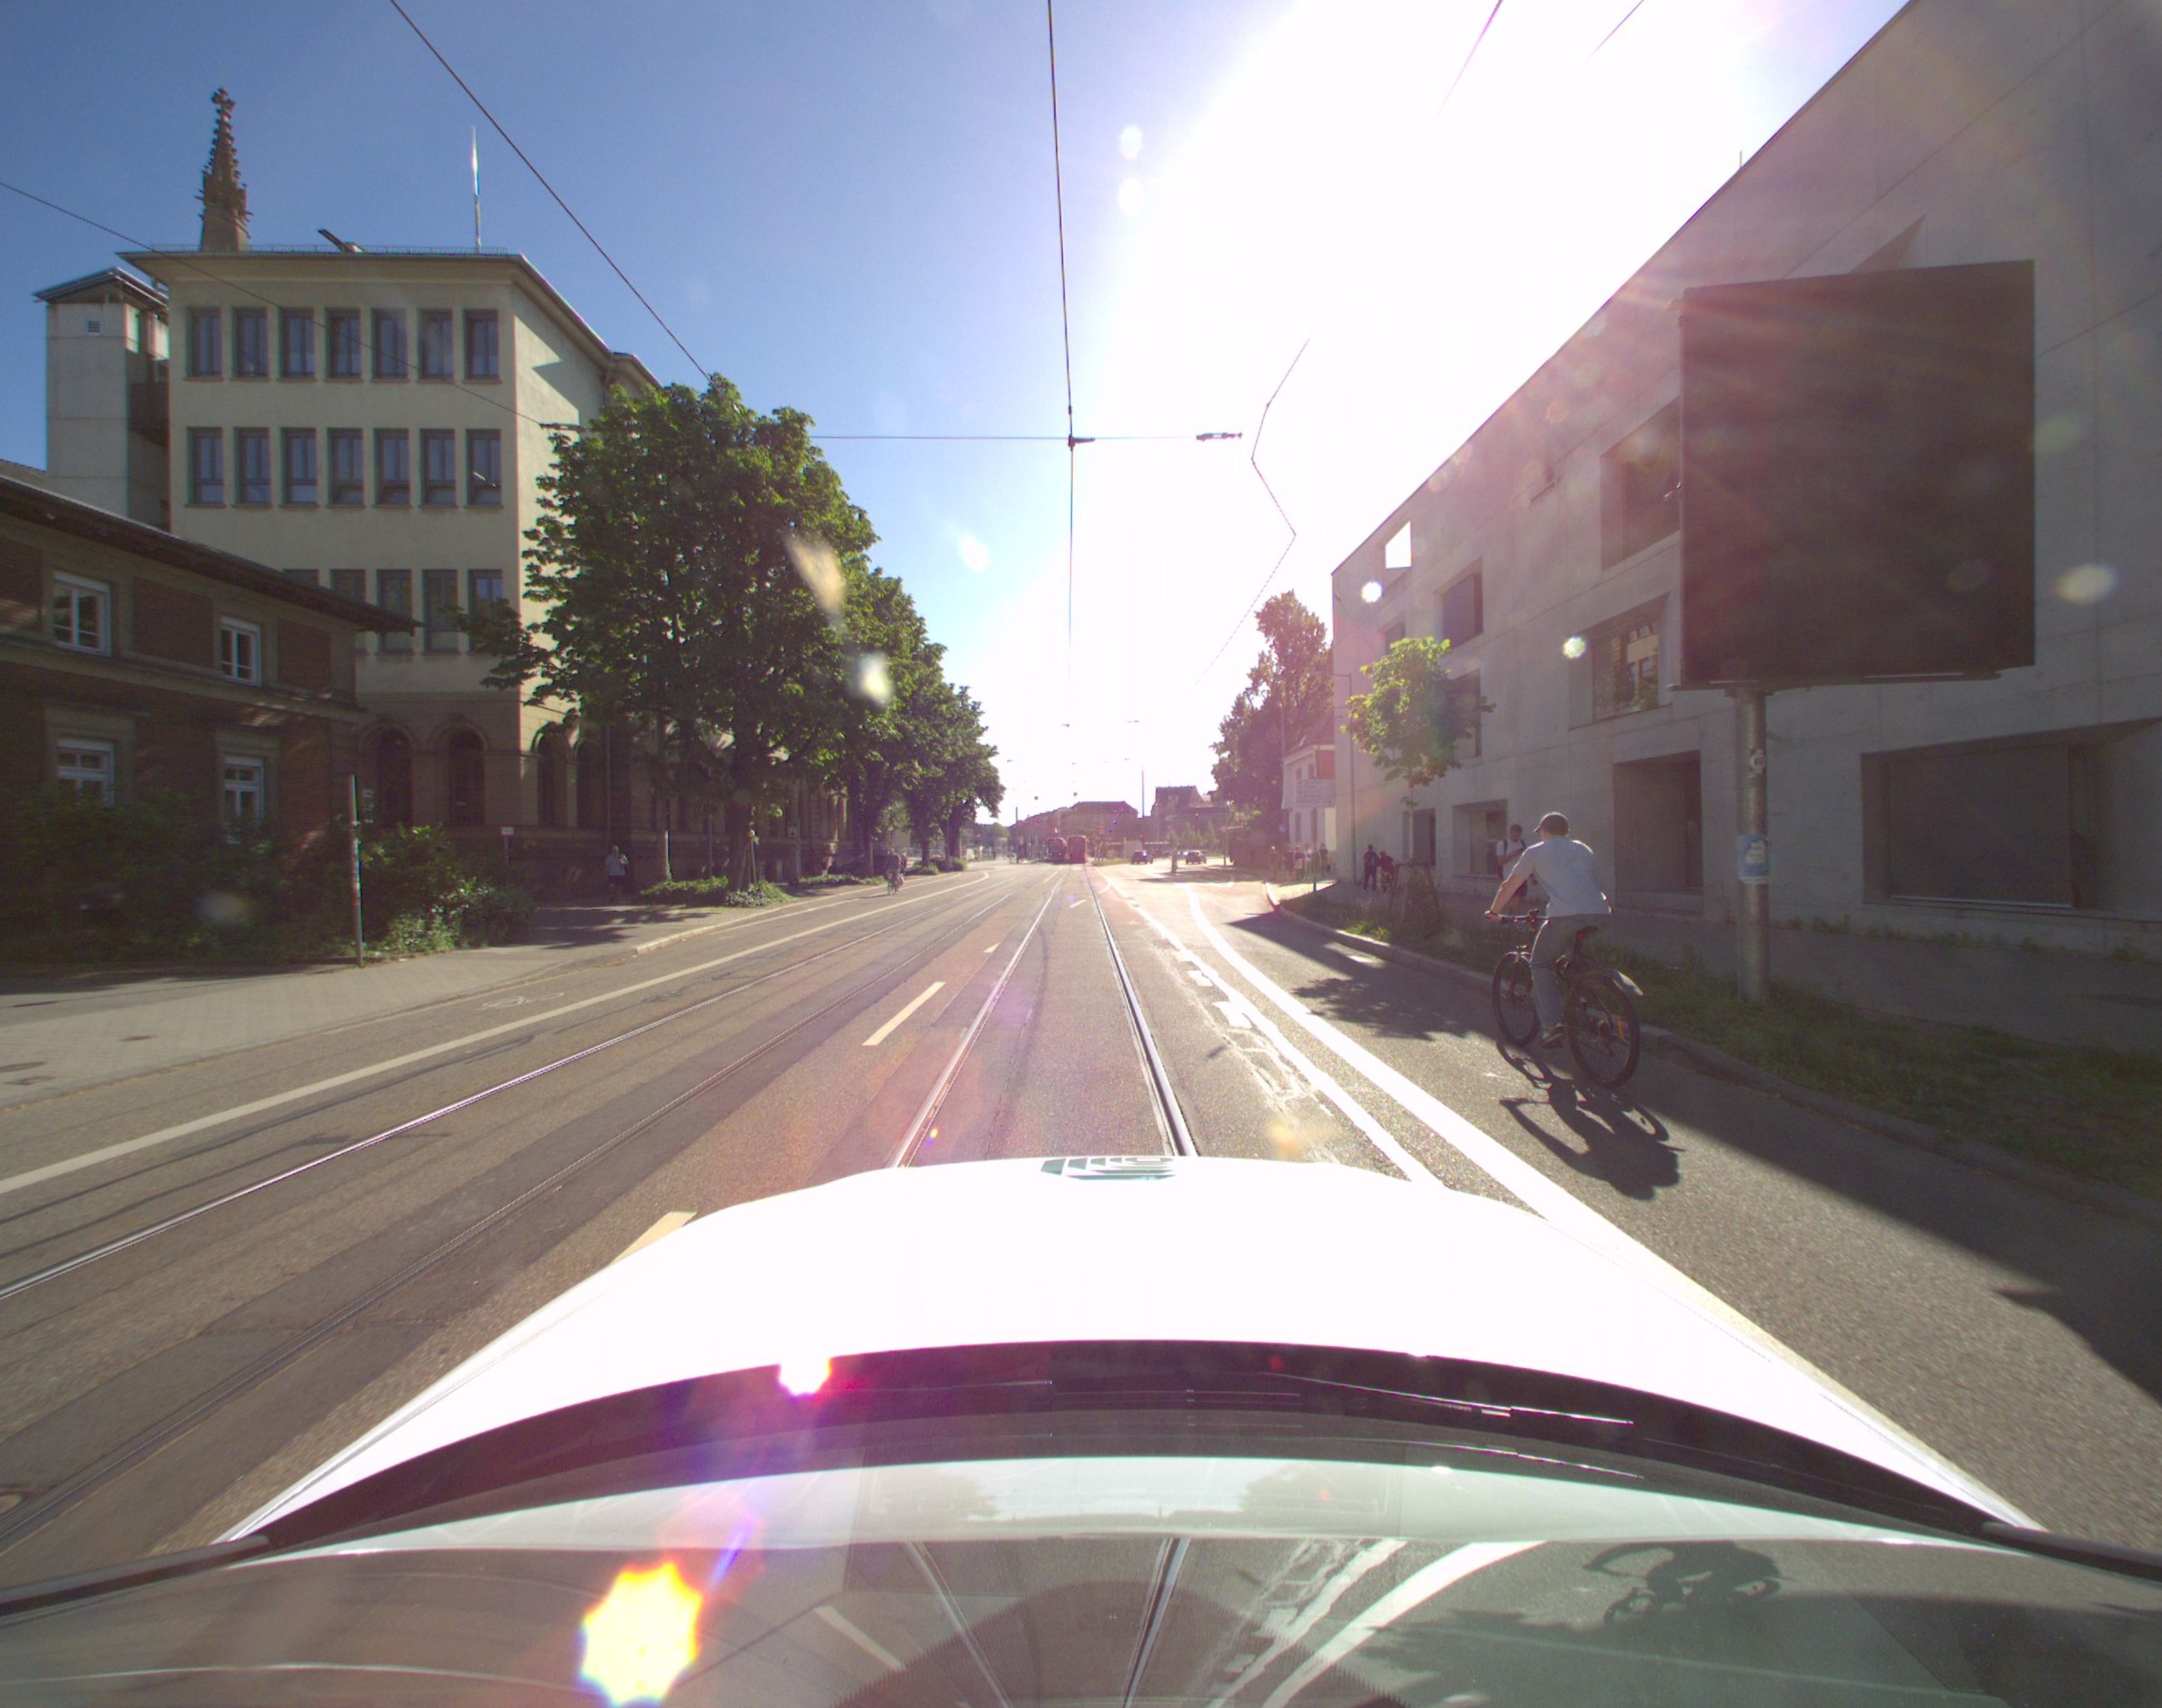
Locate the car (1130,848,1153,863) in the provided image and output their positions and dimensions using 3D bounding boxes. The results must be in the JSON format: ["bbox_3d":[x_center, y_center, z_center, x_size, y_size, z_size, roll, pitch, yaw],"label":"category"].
[{"bbox_3d":[6.903,0.143,92.488,1.774,1.604,3.730,0,1,18],"label":"car"}]

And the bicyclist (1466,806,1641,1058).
[{"bbox_3d":[3.406,0.523,5.959,0.735,1.686,0.972,0,0,2],"label":"bicyclist"}]

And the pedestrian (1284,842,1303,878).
[{"bbox_3d":[10.927,0.330,41.822,0.523,1.774,0.740,-6,0,40],"label":"pedestrian"}]

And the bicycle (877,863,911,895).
[{"bbox_3d":[-7.233,0.956,31.573,0.683,1.124,1.934,-3,0,4],"label":"bicycle"}]

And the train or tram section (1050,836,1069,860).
[{"bbox_3d":[-3.451,-1.023,132.230,2.733,3.651,12.542,-1,1,0],"label":"train or tram section"}]

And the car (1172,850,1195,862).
[{"bbox_3d":[14.469,0.200,114.940,1.685,1.643,3.736,1,1,35],"label":"car"}]

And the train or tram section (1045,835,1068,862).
[{"bbox_3d":[-3.508,-0.868,119.064,2.733,3.651,13.785,-1,1,0],"label":"train or tram section"}]

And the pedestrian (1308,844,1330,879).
[{"bbox_3d":[11.320,0.357,38.798,0.823,1.604,0.897,-5,0,14],"label":"pedestrian"}]

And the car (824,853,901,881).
[{"bbox_3d":[-12.569,0.733,46.911,4.009,1.550,1.861,0,0,-28],"label":"car"}]

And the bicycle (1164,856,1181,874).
[{"bbox_3d":[5.968,0.695,52.990,0.699,1.104,1.726,1,1,19],"label":"bicycle"}]

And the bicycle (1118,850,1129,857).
[{"bbox_3d":[7.074,-0.046,135.649,1.929,1.103,0.598,-1,0,-3],"label":"bicycle"}]

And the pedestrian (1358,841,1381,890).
[{"bbox_3d":[9.626,0.382,27.185,0.515,1.600,0.765,-1,0,3],"label":"pedestrian"}]

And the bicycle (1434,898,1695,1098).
[{"bbox_3d":[3.405,0.935,6.024,0.735,1.094,2.112,0,0,2],"label":"bicycle"}]

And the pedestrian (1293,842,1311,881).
[{"bbox_3d":[10.471,0.358,38.611,0.642,1.763,0.960,-5,0,15],"label":"pedestrian"}]

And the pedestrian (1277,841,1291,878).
[{"bbox_3d":[10.546,0.288,42.326,0.516,1.902,0.613,-4,0,8],"label":"pedestrian"}]

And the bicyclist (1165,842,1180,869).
[{"bbox_3d":[5.973,0.093,52.985,0.699,1.675,1.107,1,1,19],"label":"bicyclist"}]

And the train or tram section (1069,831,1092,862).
[{"bbox_3d":[-0.186,-0.999,105.314,2.734,3.651,13.780,-1,1,-1],"label":"train or tram section"}]

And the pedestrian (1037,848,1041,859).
[{"bbox_3d":[-6.761,-0.050,130.503,0.625,1.827,0.662,-1,0,-1],"label":"pedestrian"}]

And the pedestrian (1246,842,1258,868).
[{"bbox_3d":[13.050,0.087,62.239,0.635,1.903,1.135,-3,0,1],"label":"pedestrian"}]

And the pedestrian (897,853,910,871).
[{"bbox_3d":[-15.106,0.687,69.279,0.924,1.504,0.700,-1,0,-23],"label":"pedestrian"}]

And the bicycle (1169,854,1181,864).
[{"bbox_3d":[11.067,0.578,95.539,0.698,1.055,2.327,2,1,24],"label":"bicycle"}]

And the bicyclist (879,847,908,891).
[{"bbox_3d":[-7.253,0.580,31.555,0.683,1.644,1.239,-3,0,4],"label":"bicyclist"}]

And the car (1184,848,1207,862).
[{"bbox_3d":[13.236,0.127,93.798,1.773,1.511,3.733,1,1,23],"label":"car"}]

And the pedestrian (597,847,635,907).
[{"bbox_3d":[-14.310,0.686,25.083,0.729,1.797,0.778,2,0,-7],"label":"pedestrian"}]

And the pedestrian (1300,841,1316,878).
[{"bbox_3d":[11.521,0.279,41.280,0.605,1.774,0.656,-5,0,16],"label":"pedestrian"}]

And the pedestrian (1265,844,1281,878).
[{"bbox_3d":[9.990,0.356,42.351,0.603,1.746,0.719,-4,0,8],"label":"pedestrian"}]

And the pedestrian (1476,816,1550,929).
[{"bbox_3d":[7.412,0.299,13.999,0.682,1.849,0.955,-2,0,-1],"label":"pedestrian"}]

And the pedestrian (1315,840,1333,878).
[{"bbox_3d":[11.983,0.224,40.168,0.653,1.802,0.733,-4,0,8],"label":"pedestrian"}]

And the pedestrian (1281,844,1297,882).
[{"bbox_3d":[9.831,0.430,38.489,0.492,1.728,0.818,-5,0,9],"label":"pedestrian"}]

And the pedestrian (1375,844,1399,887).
[{"bbox_3d":[10.166,0.378,27.098,0.515,1.404,0.765,-1,0,3],"label":"pedestrian"}]
